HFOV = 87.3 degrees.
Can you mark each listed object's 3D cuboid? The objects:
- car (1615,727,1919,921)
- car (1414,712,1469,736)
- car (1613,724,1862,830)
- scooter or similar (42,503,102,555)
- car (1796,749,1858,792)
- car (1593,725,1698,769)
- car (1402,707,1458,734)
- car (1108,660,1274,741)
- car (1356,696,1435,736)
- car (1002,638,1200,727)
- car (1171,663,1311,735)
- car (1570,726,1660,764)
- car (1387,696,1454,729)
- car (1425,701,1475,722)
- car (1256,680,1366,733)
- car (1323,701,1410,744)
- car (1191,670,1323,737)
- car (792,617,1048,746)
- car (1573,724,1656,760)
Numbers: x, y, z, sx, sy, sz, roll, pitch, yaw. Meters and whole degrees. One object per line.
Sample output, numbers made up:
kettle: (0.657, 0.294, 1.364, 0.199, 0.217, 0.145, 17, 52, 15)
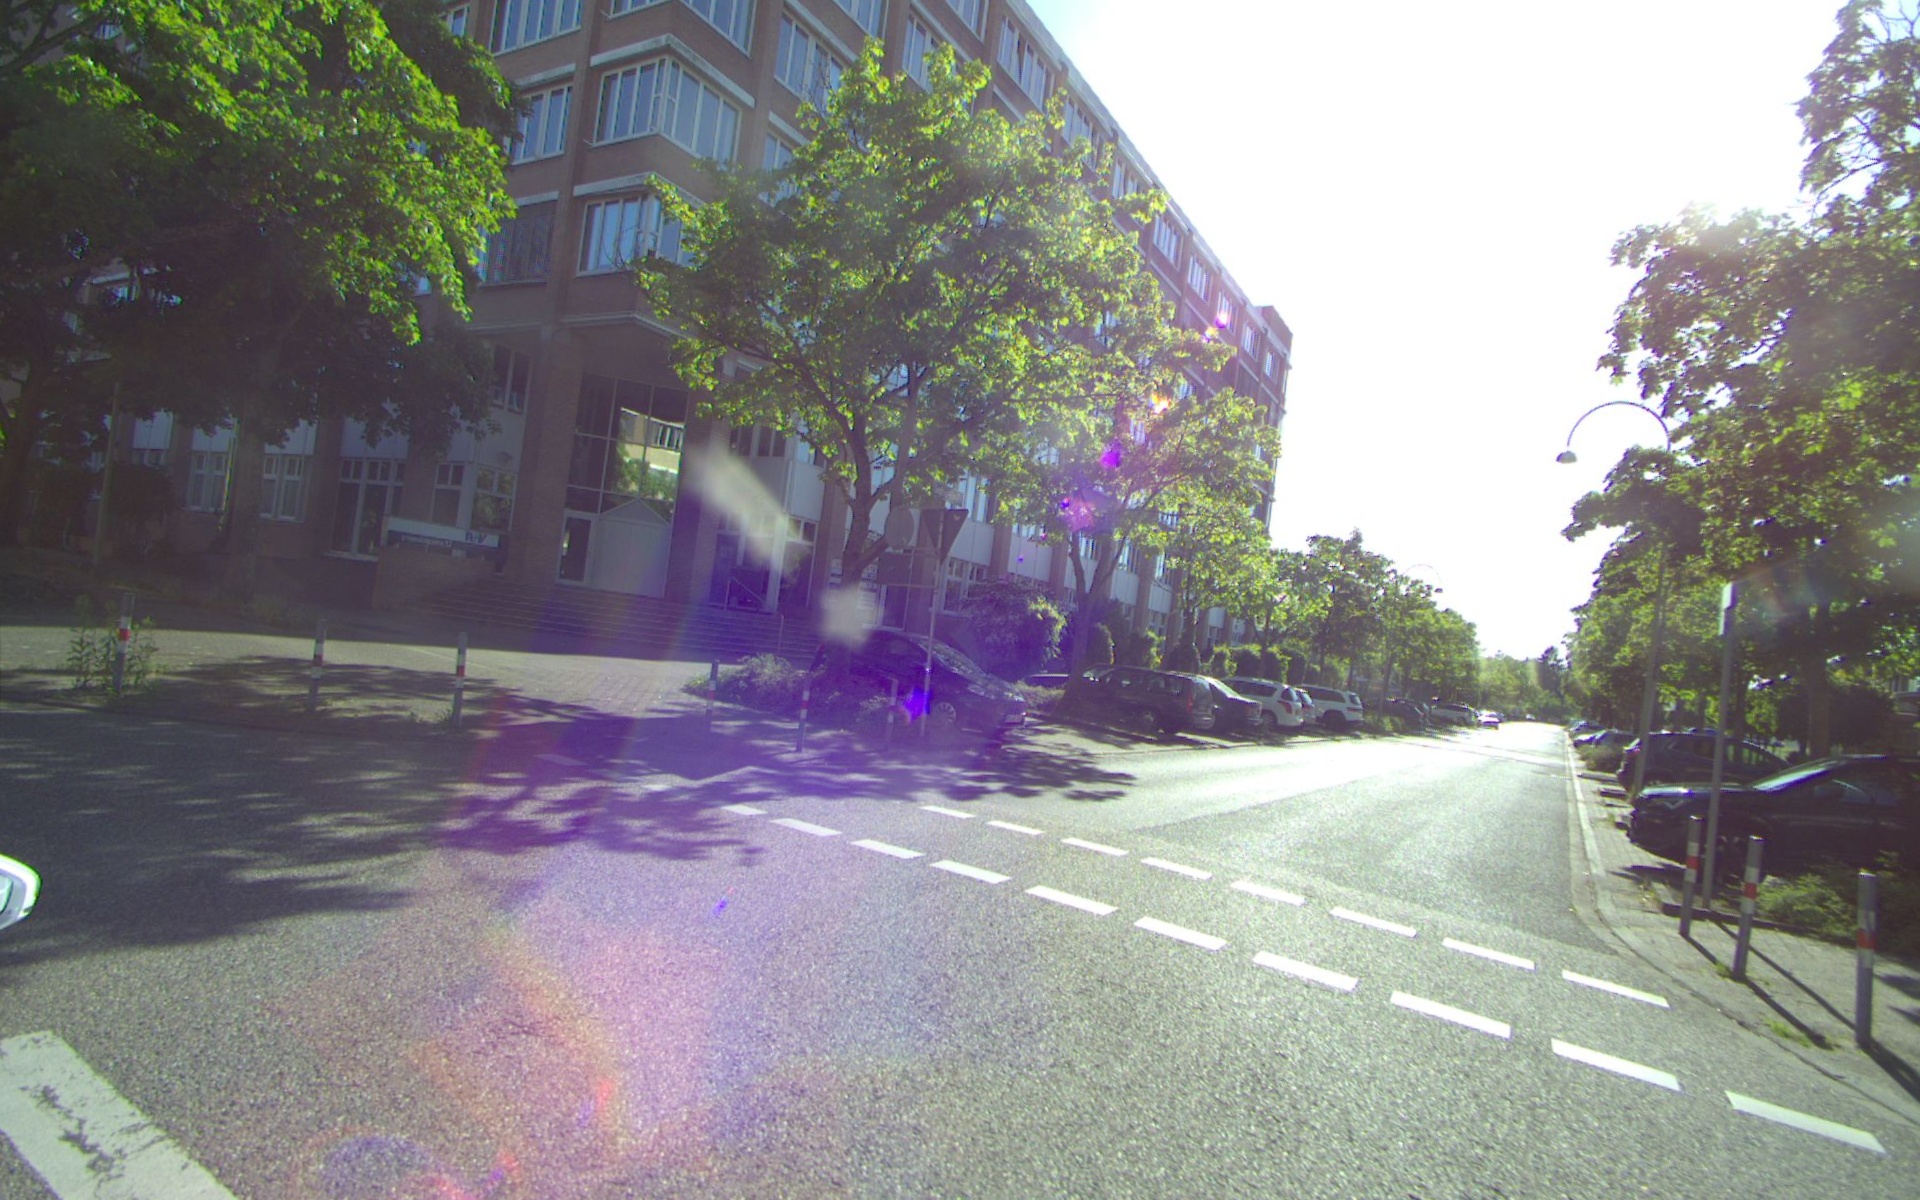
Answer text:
car: (9.661, 2.420, 10.696, 4.292, 1.583, 1.742, 4, -3, 29)
car: (39.995, 10.288, 83.557, 3.844, 1.259, 1.534, 9, 0, 32)
car: (16.187, 3.637, 21.163, 3.942, 1.602, 1.700, 3, -4, 38)
scooter or similar: (-26.125, -2.090, 29.601, 1.774, 1.340, 0.551, 7, -2, 27)
car: (36.661, 7.171, 42.606, 1.513, 1.460, 3.899, 5, -3, 36)
car: (32.098, 6.863, 47.226, 3.844, 1.461, 1.534, 5, -2, 31)
car: (35.403, 9.071, 75.827, 3.569, 1.260, 1.418, 9, 2, 32)
car: (6.214, 2.691, 27.123, 3.931, 1.383, 1.627, 9, -2, 29)
car: (25.172, 6.676, 58.150, 3.844, 1.520, 1.534, 9, 0, 32)
car: (3.284, 1.929, 23.809, 4.205, 1.478, 1.691, 7, -1, 35)
car: (9.144, 3.211, 32.804, 3.933, 1.583, 1.625, 9, 0, 32)
car: (35.382, 7.801, 54.433, 3.842, 1.330, 1.535, 7, -2, 29)
car: (31.233, 7.610, 68.220, 3.844, 1.520, 1.534, 9, 0, 32)
car: (43.401, 9.883, 89.137, 3.844, 1.258, 1.535, 6, -2, 31)
car: (14.186, 4.273, 40.681, 3.845, 1.519, 1.534, 7, -1, 32)
car: (21.261, 6.375, 52.653, 3.844, 1.447, 1.534, 9, 0, 32)
car: (10.232, 3.548, 34.773, 3.933, 1.520, 1.534, 9, 0, 32)
car: (-0.705, 1.309, 16.728, 3.852, 1.479, 1.655, 8, -1, 32)
car: (38.061, 8.249, 58.599, 3.842, 1.461, 1.535, 5, -2, 29)
